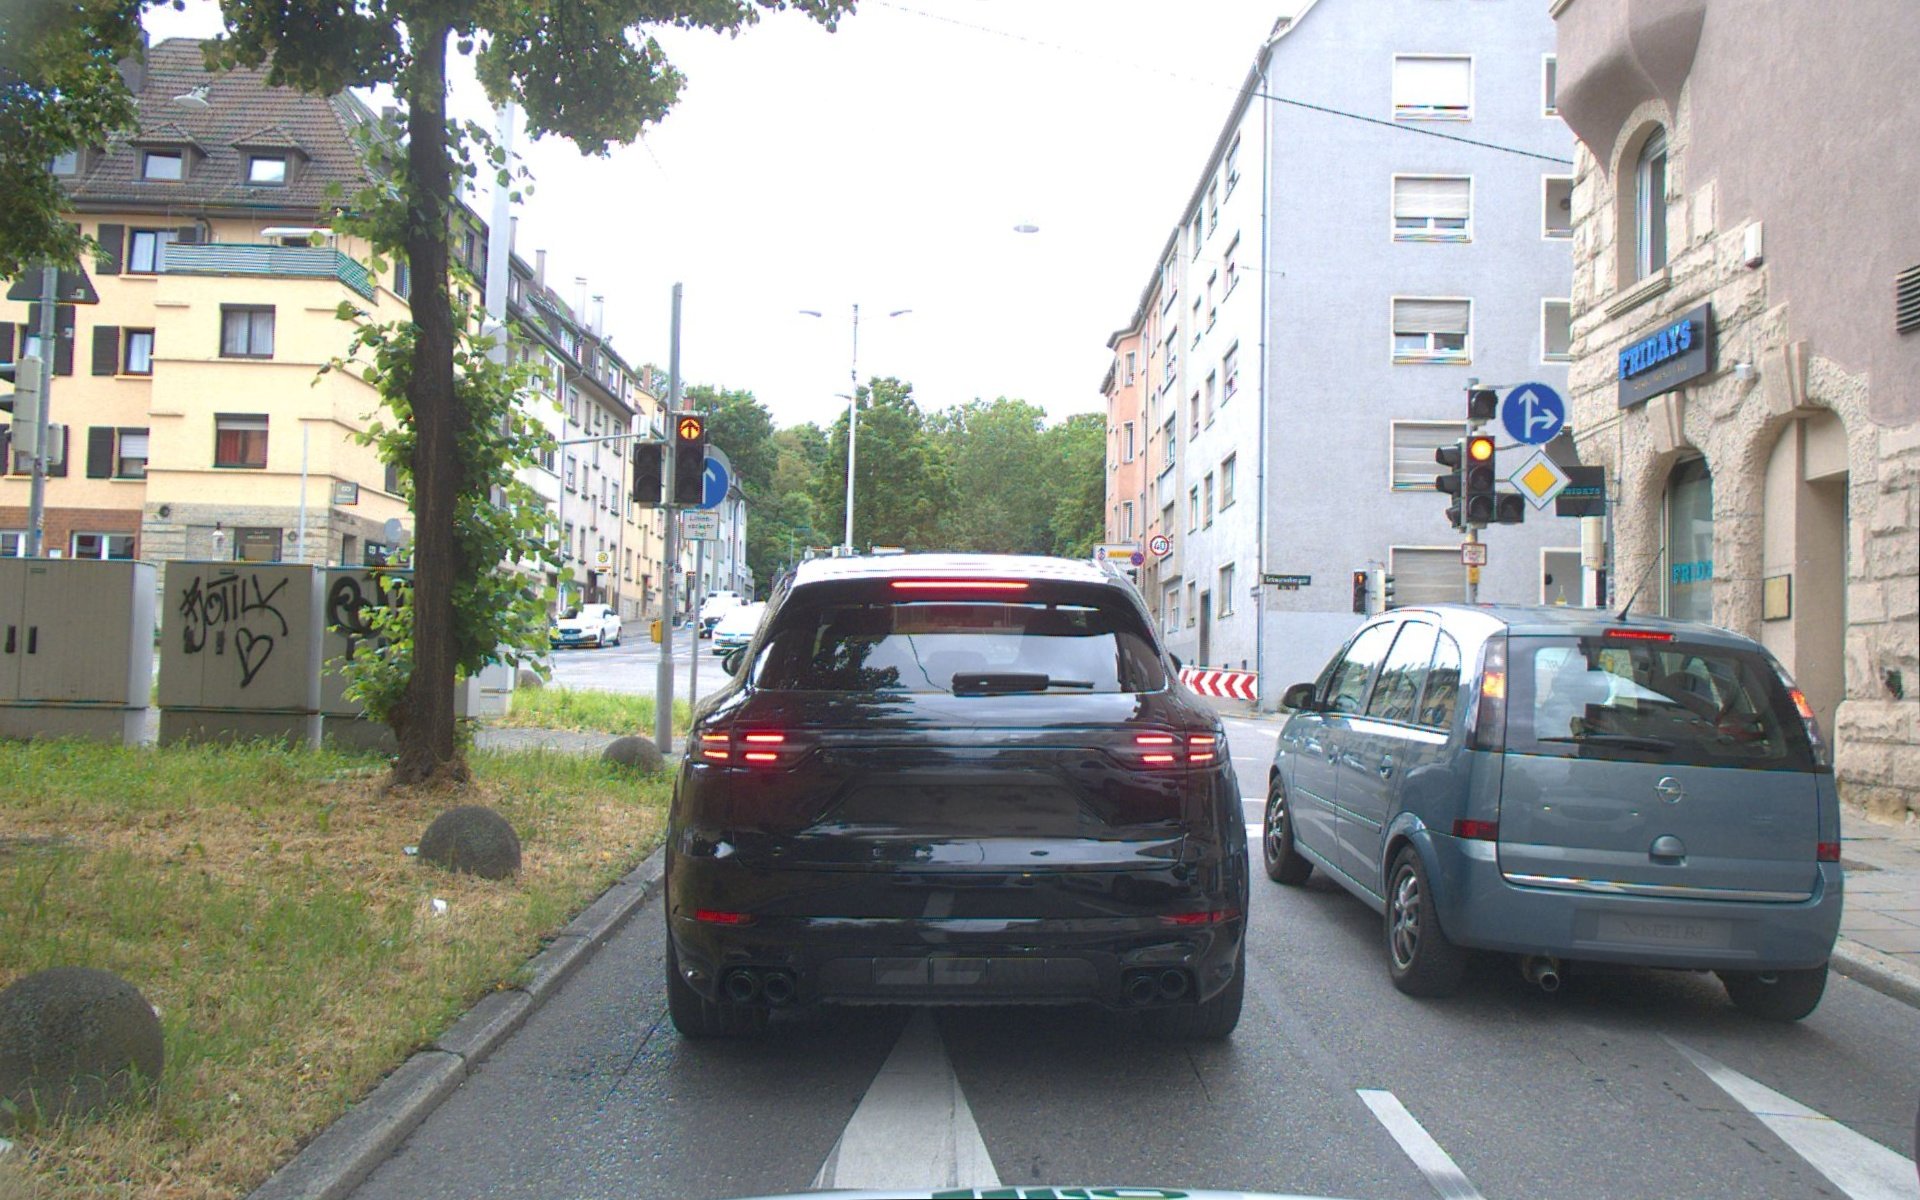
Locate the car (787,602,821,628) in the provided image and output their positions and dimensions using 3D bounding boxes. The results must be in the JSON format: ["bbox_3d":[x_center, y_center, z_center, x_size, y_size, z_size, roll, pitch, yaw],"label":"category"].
[{"bbox_3d":[-9.665,0.958,102.827,1.585,1.506,3.824,1,-1,3],"label":"car"}]

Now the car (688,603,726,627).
[{"bbox_3d":[-15.117,0.891,98.942,1.703,1.411,3.813,1,0,0],"label":"car"}]

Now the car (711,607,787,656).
[{"bbox_3d":[-6.534,0.951,51.554,1.824,1.412,4.094,1,0,0],"label":"car"}]

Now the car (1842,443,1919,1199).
[{"bbox_3d":[2.899,0.657,1.090,1.936,1.806,4.674,4,0,-2],"label":"car"}]

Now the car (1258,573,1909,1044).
[{"bbox_3d":[2.628,0.774,7.911,1.596,1.625,3.668,4,0,-1],"label":"car"}]

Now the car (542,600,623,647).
[{"bbox_3d":[-12.723,0.784,55.924,1.806,1.512,3.897,1,0,0],"label":"car"}]

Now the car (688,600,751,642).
[{"bbox_3d":[-9.894,0.831,68.235,1.933,1.638,4.557,1,0,-1],"label":"car"}]

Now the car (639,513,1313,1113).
[{"bbox_3d":[0.023,0.616,6.719,1.916,1.704,3.999,0,0,-1],"label":"car"}]
